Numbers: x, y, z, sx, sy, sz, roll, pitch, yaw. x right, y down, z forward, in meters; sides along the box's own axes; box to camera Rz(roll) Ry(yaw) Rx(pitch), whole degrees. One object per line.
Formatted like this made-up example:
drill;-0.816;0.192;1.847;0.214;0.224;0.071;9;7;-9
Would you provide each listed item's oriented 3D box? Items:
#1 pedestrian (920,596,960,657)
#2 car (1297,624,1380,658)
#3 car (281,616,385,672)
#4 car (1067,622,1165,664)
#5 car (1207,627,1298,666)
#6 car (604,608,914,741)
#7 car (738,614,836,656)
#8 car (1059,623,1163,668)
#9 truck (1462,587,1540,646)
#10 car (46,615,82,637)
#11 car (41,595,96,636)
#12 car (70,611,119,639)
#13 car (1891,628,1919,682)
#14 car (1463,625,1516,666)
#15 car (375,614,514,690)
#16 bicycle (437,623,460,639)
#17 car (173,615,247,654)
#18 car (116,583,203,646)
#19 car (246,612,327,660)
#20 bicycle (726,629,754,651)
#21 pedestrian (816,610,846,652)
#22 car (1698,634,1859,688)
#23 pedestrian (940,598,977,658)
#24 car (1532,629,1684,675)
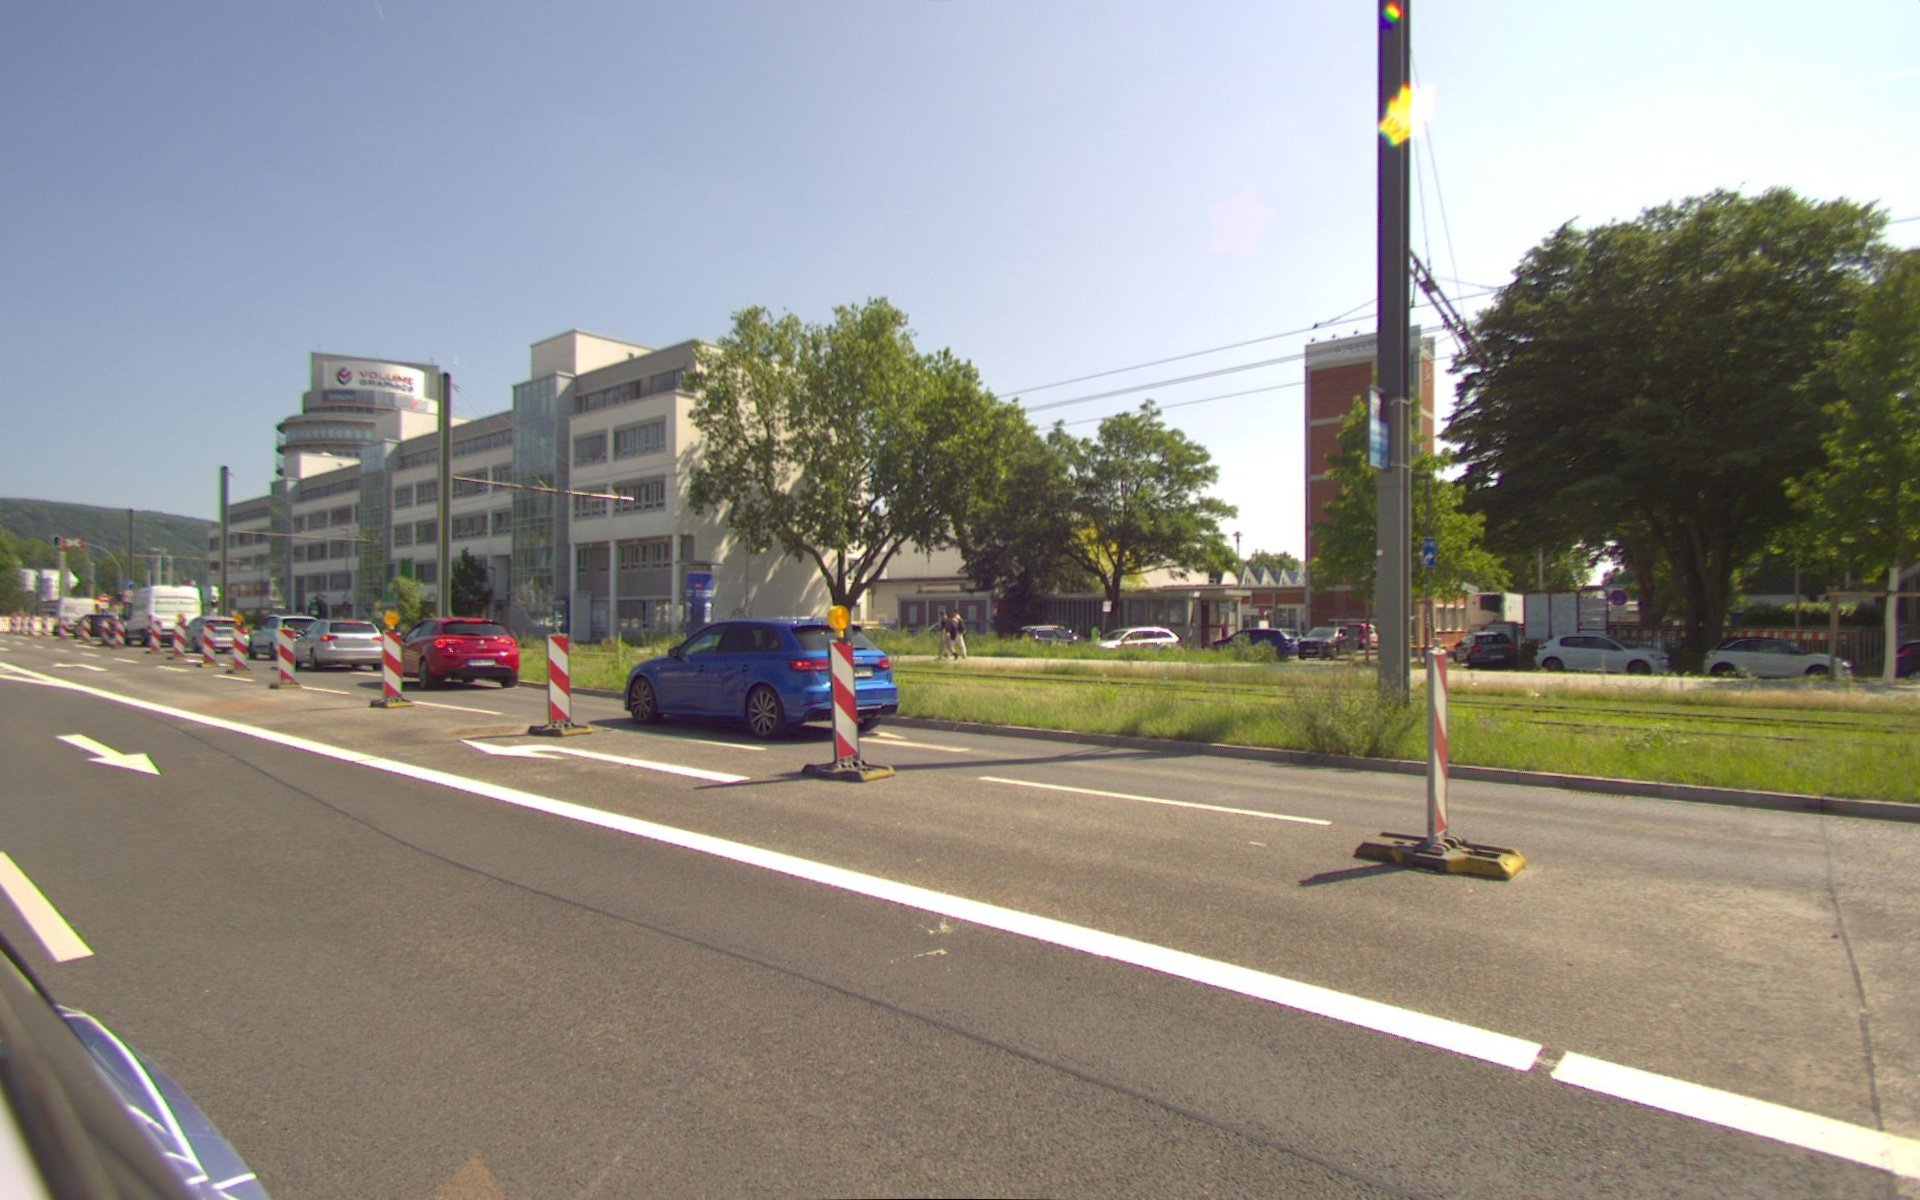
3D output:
pedestrian;-0.687;0.888;34.463;0.910;2.029;0.972;-1;0;43
car;17.835;1.906;47.727;3.343;1.464;1.522;-1;1;39
car;-17.721;1.187;28.534;1.562;1.427;4.299;2;-2;-45
car;6.491;1.759;42.251;3.630;1.603;1.752;-1;1;36
car;13.319;2.079;46.148;3.630;1.603;1.752;-1;1;36
car;-2.694;0.854;12.995;4.287;1.438;1.611;-1;-2;41
car;-9.501;1.890;55.621;4.988;2.196;2.121;0;-1;-22
car;5.894;1.753;39.702;3.630;1.603;1.752;-1;1;36
truck;42.711;1.156;79.589;2.887;4.112;12.475;-1;1;40
car;-66.641;1.931;75.267;3.978;1.553;1.563;-1;-4;43
car;-59.549;1.055;67.545;6.193;2.598;2.008;-1;-4;43
car;-49.423;1.418;57.756;4.191;1.468;1.529;-1;-3;42
car;28.635;1.541;28.221;3.782;1.468;1.523;-1;-1;38
car;20.700;1.752;39.680;1.534;1.468;3.722;-1;-1;24
car;-10.954;1.035;21.386;1.561;1.427;4.003;2;-2;-43
bicycle;-42.386;2.567;83.941;1.627;1.198;0.438;-1;0;-44
car;-30.160;1.353;40.648;4.470;1.454;1.654;-1;-3;45
car;-37.601;0.674;47.469;5.983;2.761;2.055;0;-3;41
car;-23.286;1.217;34.960;3.622;1.542;1.562;0;-3;44
bicycle;-10.017;1.817;46.099;1.558;0.993;0.455;-1;-1;44
pedestrian;-5.027;1.209;39.433;0.805;1.588;0.827;0;-1;-44
car;25.163;1.839;31.287;3.781;1.468;1.524;0;0;37
pedestrian;-0.060;0.961;35.132;0.984;2.029;0.830;-1;-1;44
car;22.441;1.764;35.140;4.265;1.468;1.522;-1;-1;41
